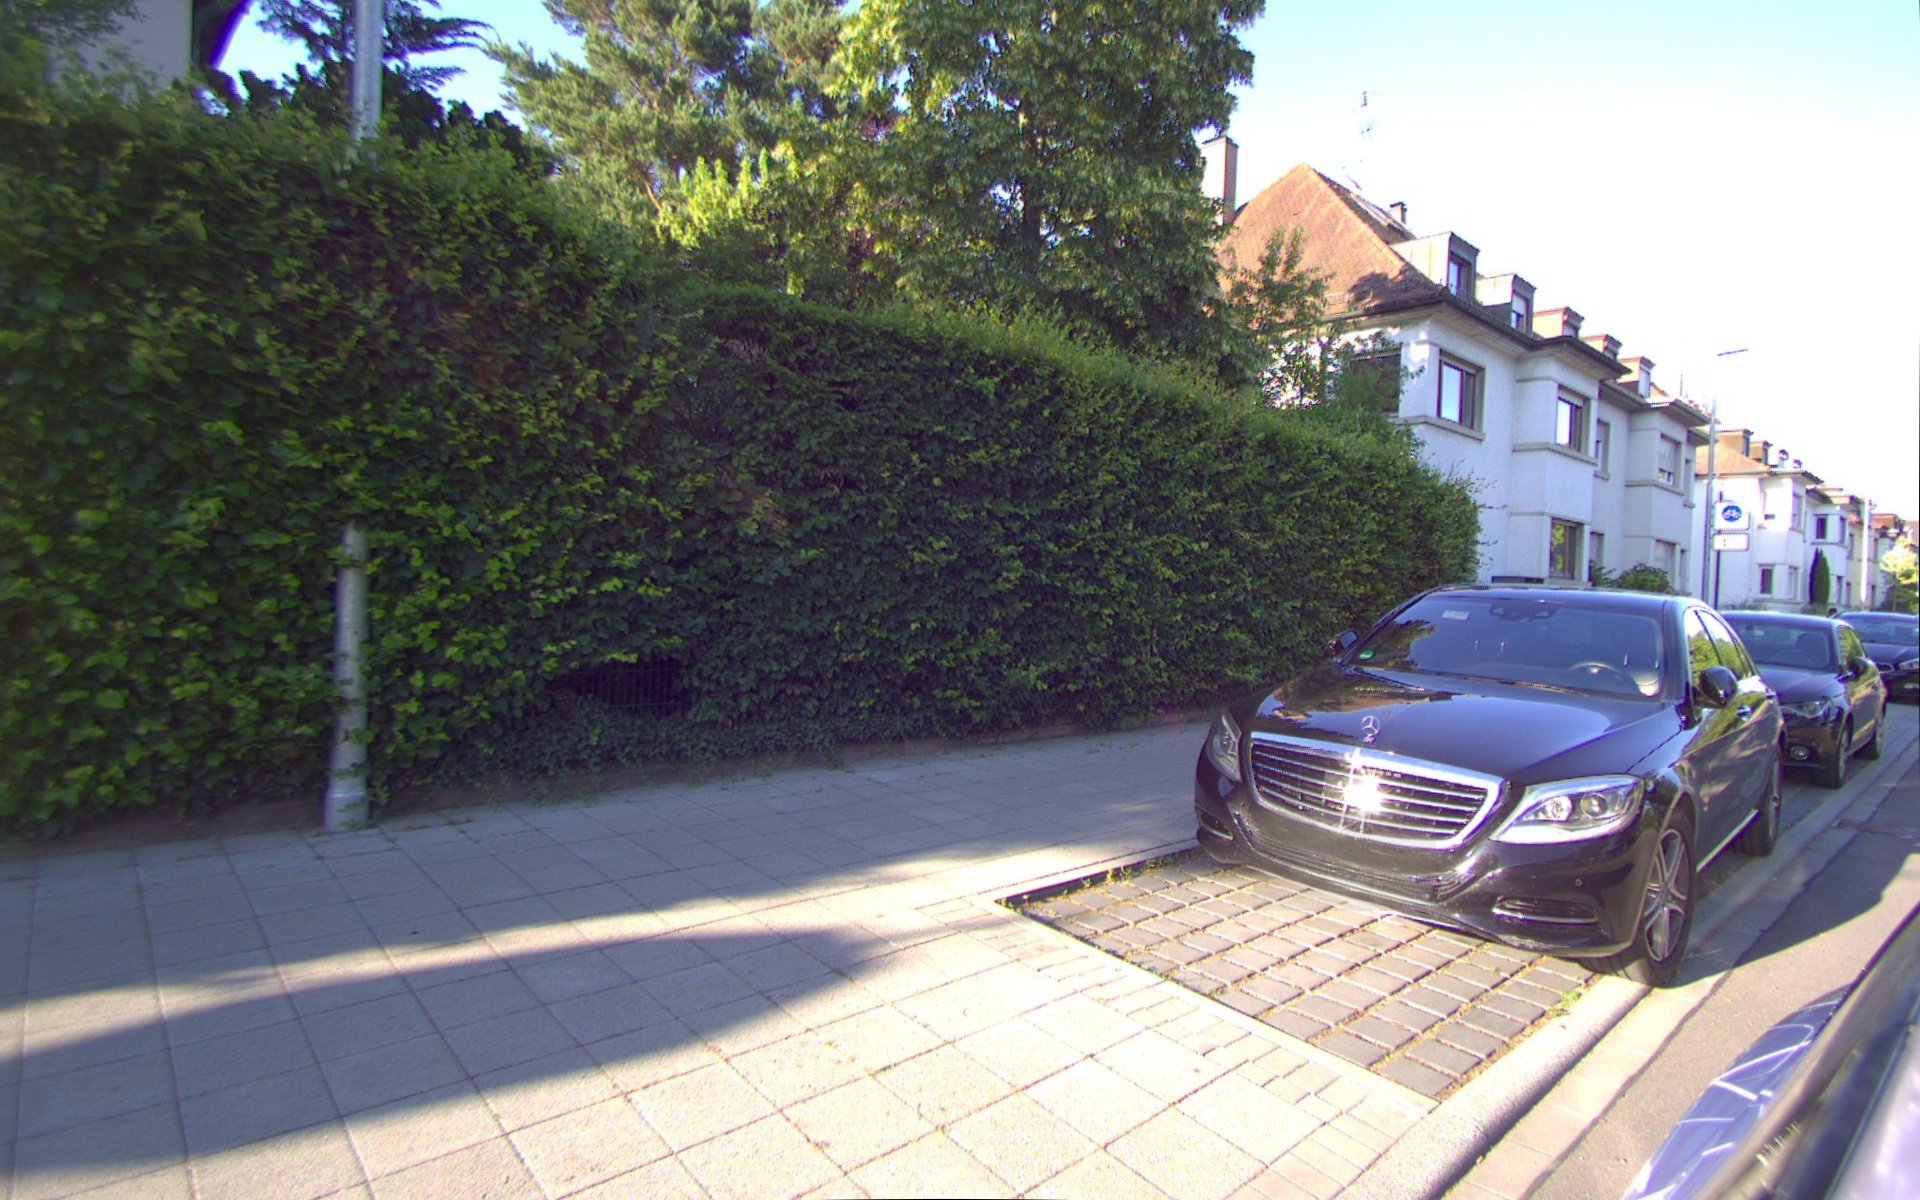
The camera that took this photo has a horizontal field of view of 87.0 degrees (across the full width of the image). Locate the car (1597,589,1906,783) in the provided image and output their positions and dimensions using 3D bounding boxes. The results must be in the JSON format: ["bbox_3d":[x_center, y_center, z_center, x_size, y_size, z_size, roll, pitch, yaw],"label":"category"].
[{"bbox_3d":[7.779,0.688,9.815,3.932,1.496,1.781,1,-1,-43],"label":"car"}]

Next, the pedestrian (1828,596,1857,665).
[{"bbox_3d":[23.722,0.801,27.203,0.579,1.821,0.530,1,-1,-44],"label":"pedestrian"}]

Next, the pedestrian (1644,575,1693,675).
[{"bbox_3d":[13.578,0.462,19.393,0.809,1.869,0.587,0,0,-41],"label":"pedestrian"}]

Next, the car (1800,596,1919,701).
[{"bbox_3d":[15.852,0.782,17.319,4.007,1.616,1.793,1,-1,-43],"label":"car"}]

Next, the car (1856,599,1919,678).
[{"bbox_3d":[20.018,0.787,21.021,3.410,1.554,1.679,1,-1,-41],"label":"car"}]

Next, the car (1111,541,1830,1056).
[{"bbox_3d":[3.099,0.571,5.451,4.835,1.517,2.005,1,3,-45],"label":"car"}]
